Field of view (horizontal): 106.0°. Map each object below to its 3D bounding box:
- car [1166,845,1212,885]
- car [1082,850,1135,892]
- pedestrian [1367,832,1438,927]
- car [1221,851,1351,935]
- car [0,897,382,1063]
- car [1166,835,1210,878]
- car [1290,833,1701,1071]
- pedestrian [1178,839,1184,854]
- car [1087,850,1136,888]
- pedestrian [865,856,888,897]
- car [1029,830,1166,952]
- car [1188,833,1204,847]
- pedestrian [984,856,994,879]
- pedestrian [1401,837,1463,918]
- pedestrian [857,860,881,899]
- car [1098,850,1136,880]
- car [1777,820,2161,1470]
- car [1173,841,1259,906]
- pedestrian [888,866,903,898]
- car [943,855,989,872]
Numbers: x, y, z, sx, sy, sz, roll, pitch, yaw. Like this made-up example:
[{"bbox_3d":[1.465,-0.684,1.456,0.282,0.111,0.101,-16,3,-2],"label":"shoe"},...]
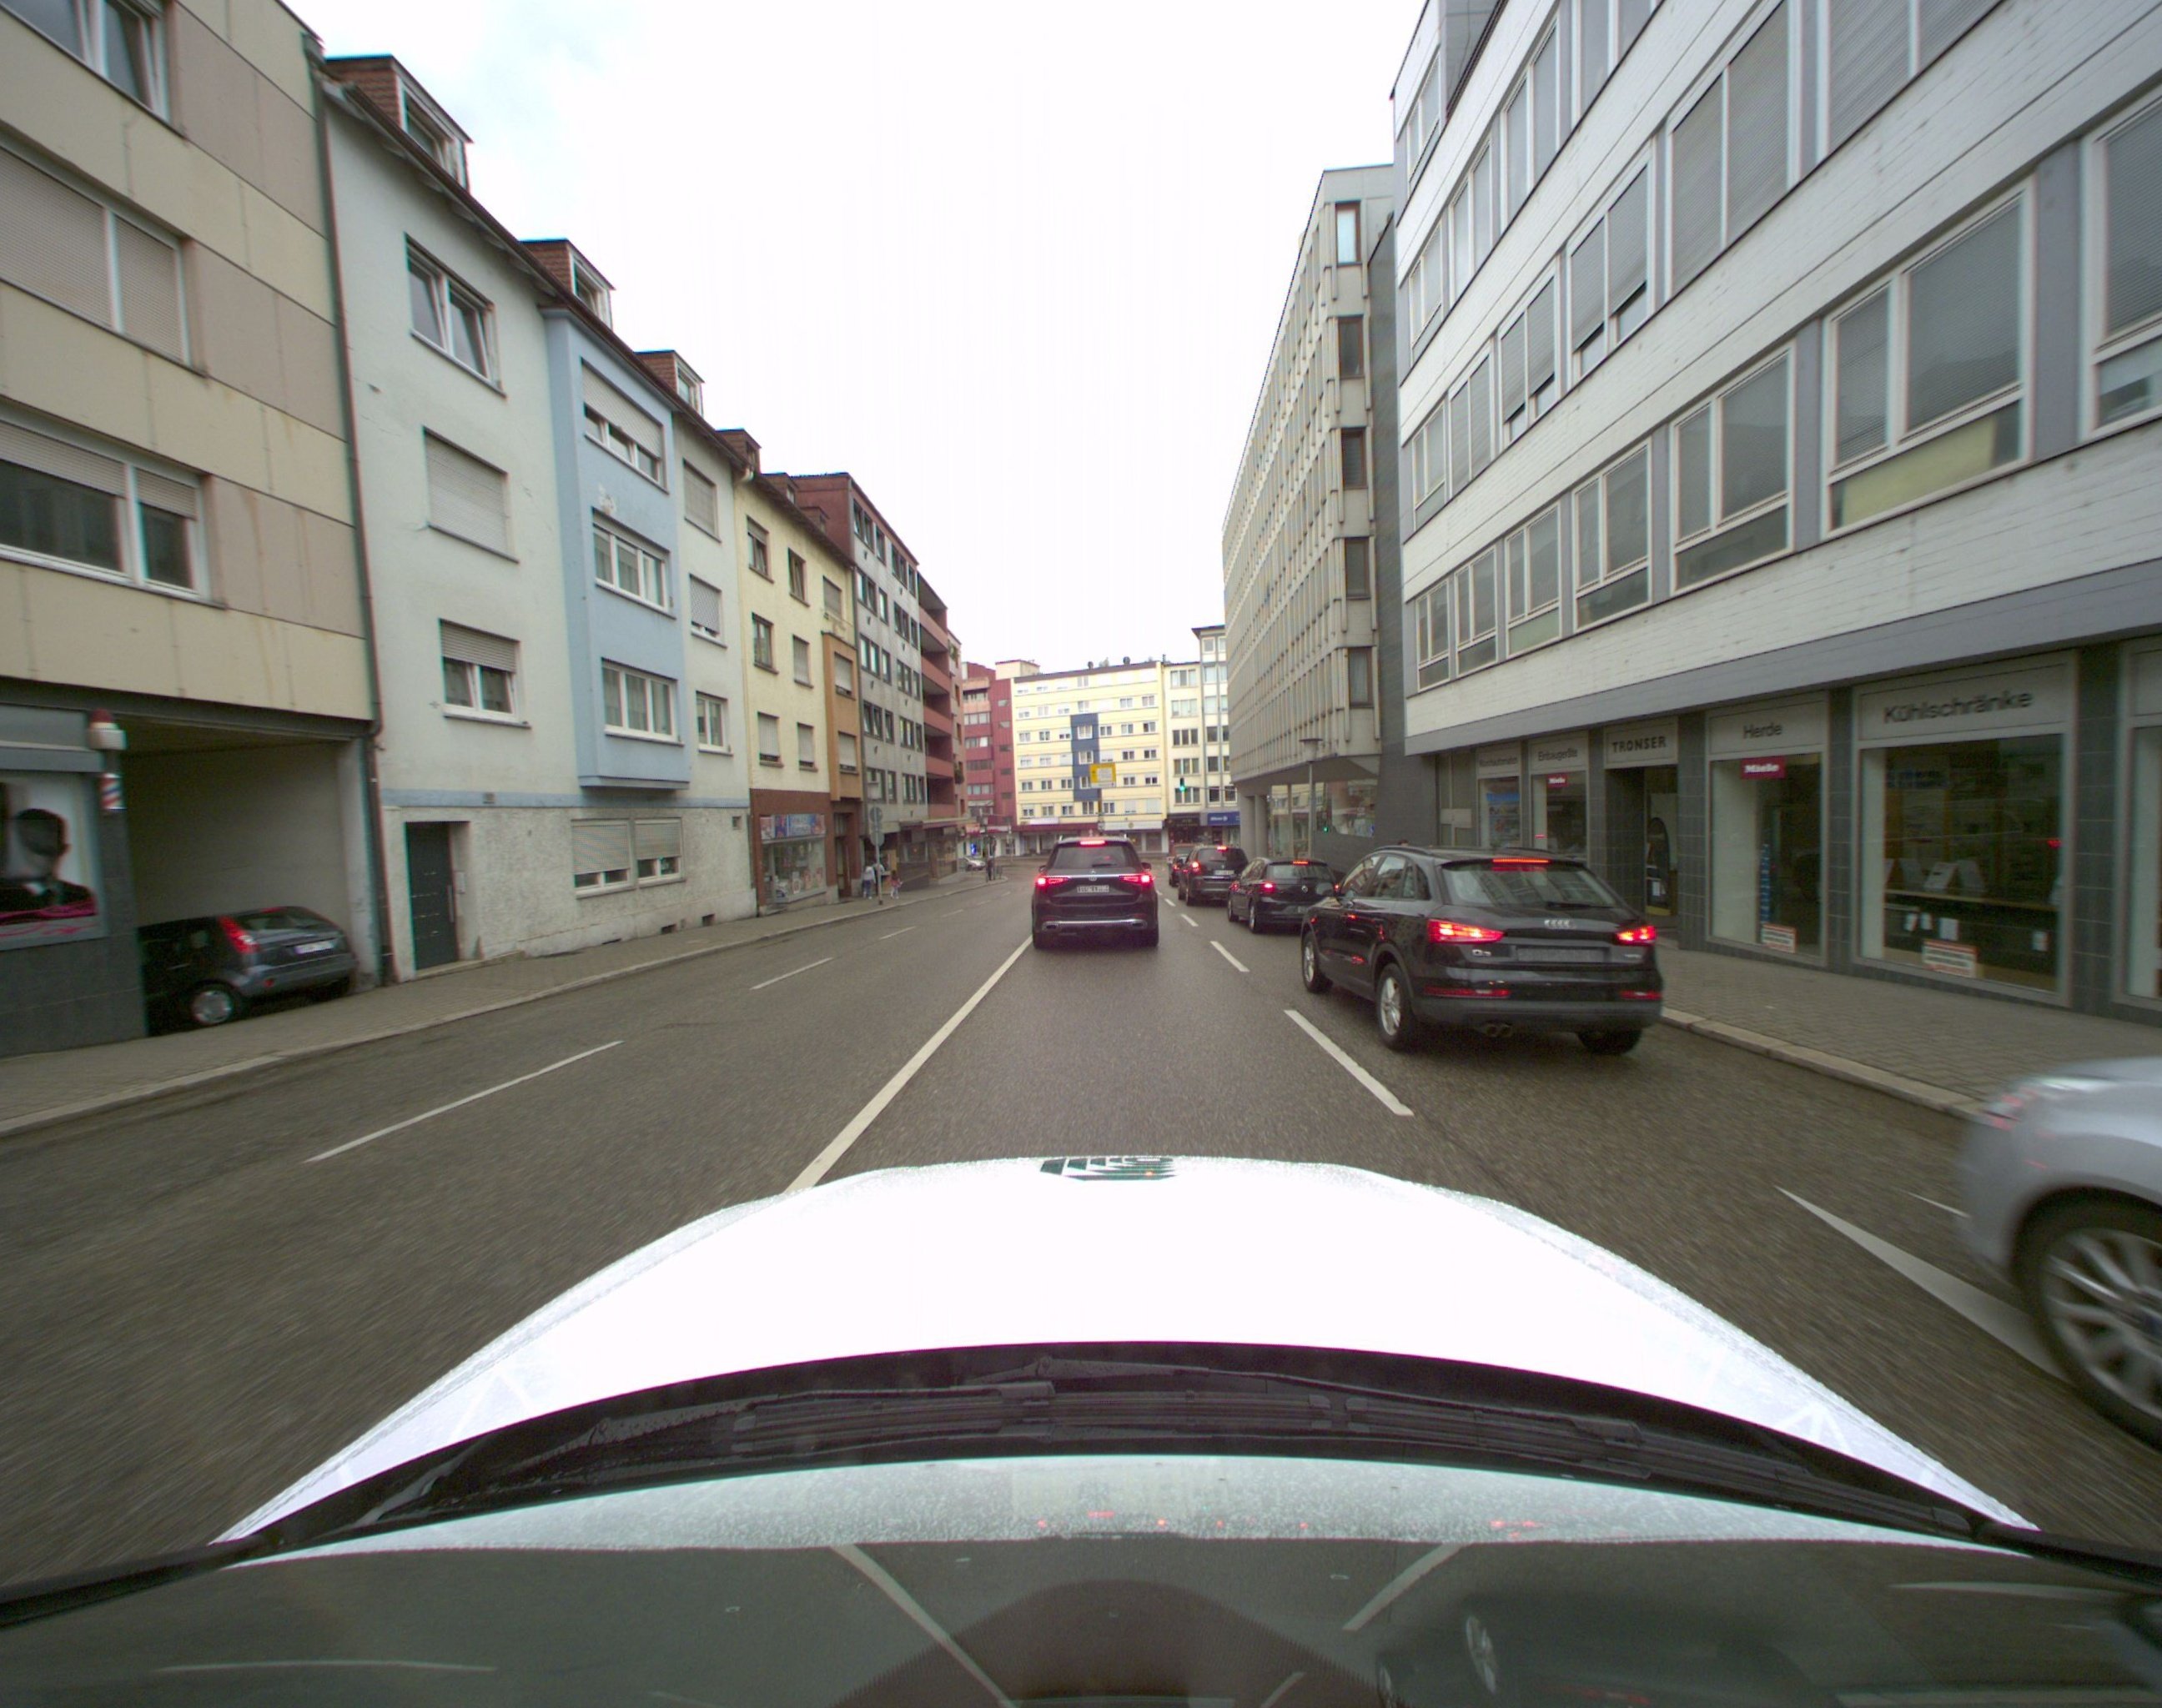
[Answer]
[{"bbox_3d":[4.820,0.491,36.787,1.815,1.658,4.501,0,-1,4],"label":"car"},{"bbox_3d":[1.038,0.597,31.431,1.867,1.494,4.401,-1,0,1],"label":"car"},{"bbox_3d":[6.173,0.468,15.710,0.781,1.705,1.120,-5,0,-1],"label":"pedestrian"},{"bbox_3d":[3.984,0.684,16.468,1.682,1.477,4.001,1,0,1],"label":"car"},{"bbox_3d":[-11.842,1.604,10.424,3.982,1.349,1.676,-9,2,-5],"label":"car"},{"bbox_3d":[5.896,0.113,45.221,2.231,2.228,5.438,-1,0,7],"label":"car"},{"bbox_3d":[3.287,0.655,7.513,1.816,1.560,4.204,0,0,2],"label":"car"},{"bbox_3d":[11.343,-0.863,92.150,0.560,1.688,0.758,-2,6,9],"label":"pedestrian"},{"bbox_3d":[1.386,0.609,36.070,1.985,1.486,4.240,-3,0,3],"label":"car"},{"bbox_3d":[-8.587,0.951,34.241,0.826,1.689,0.722,0,0,-6],"label":"pedestrian"},{"bbox_3d":[0.302,0.544,14.558,2.031,1.799,4.664,-1,0,1],"label":"car"},{"bbox_3d":[14.831,-1.752,104.977,1.785,1.670,4.013,-3,0,11],"label":"car"},{"bbox_3d":[-6.830,1.014,60.466,0.552,1.697,0.623,-2,0,-1],"label":"pedestrian"},{"bbox_3d":[7.108,0.463,16.531,0.763,1.551,0.890,-5,0,-1],"label":"pedestrian"},{"bbox_3d":[-8.573,1.018,32.914,0.826,1.561,0.722,0,0,-6],"label":"pedestrian"},{"bbox_3d":[1.970,0.626,44.353,1.917,1.515,4.665,0,-1,3],"label":"car"},{"bbox_3d":[3.499,0.715,0.885,1.821,1.541,4.250,1,0,-1],"label":"car"},{"bbox_3d":[3.850,0.507,23.957,1.890,1.695,4.507,1,0,2],"label":"car"},{"bbox_3d":[-7.719,1.156,33.949,0.532,1.323,0.722,0,0,-6],"label":"pedestrian"},{"bbox_3d":[-11.482,0.949,81.151,4.129,1.592,1.749,0,1,18],"label":"car"}]
